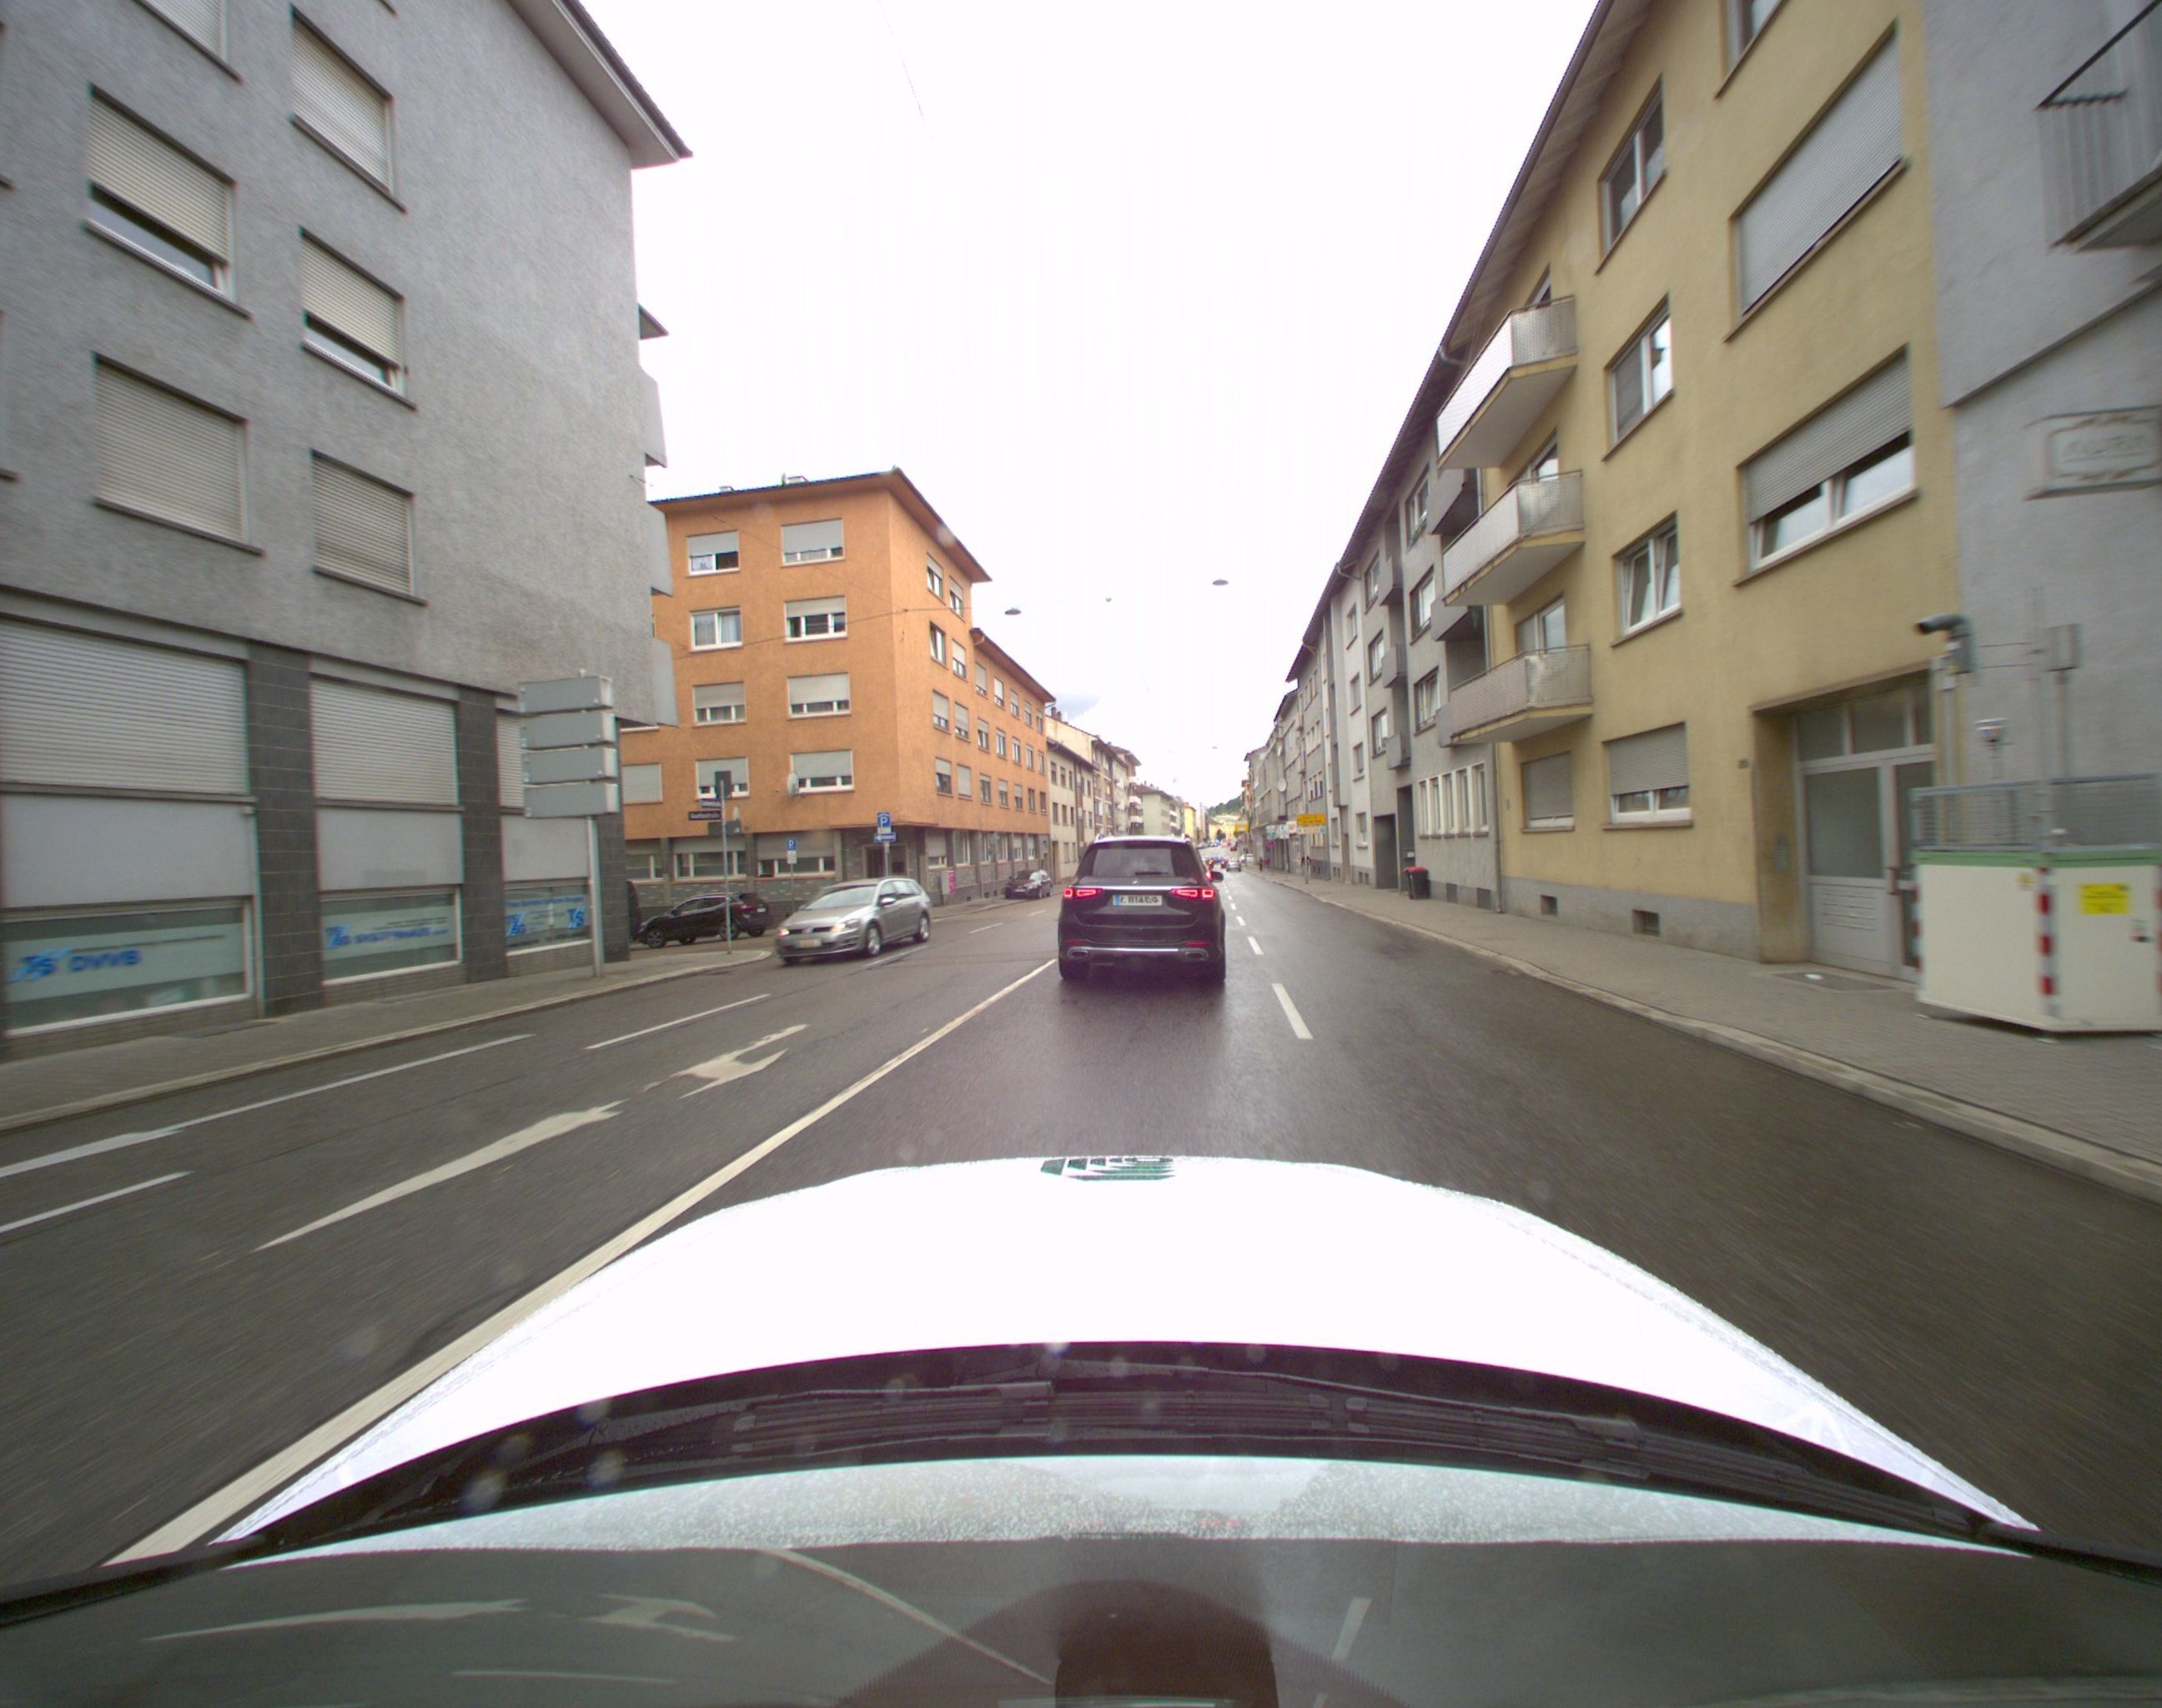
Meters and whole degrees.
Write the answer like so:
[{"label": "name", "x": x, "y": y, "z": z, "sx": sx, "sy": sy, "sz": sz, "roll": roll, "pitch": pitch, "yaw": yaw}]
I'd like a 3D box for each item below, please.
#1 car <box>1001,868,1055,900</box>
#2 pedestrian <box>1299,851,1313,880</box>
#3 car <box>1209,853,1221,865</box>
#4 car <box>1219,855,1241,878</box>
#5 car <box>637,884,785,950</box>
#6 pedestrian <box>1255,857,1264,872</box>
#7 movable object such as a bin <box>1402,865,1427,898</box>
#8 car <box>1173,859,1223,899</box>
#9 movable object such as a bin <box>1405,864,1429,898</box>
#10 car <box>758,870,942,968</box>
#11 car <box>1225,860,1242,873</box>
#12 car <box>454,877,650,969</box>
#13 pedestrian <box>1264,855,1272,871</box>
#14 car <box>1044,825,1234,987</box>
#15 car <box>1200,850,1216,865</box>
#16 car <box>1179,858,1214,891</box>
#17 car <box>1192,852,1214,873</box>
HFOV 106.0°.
[{"label": "car", "x": -2.625, "y": 1.495, "z": 41.655, "sx": 1.881, "sy": 1.458, "sz": 4.559, "roll": -1, "pitch": 0, "yaw": 7}, {"label": "pedestrian", "x": 14.139, "y": 0.740, "z": 51.177, "sx": 0.651, "sy": 1.752, "sz": 0.744, "roll": -5, "pitch": -1, "yaw": 14}, {"label": "car", "x": 23.576, "y": 0.789, "z": 143.415, "sx": 1.980, "sy": 2.013, "sz": 4.013, "roll": -1, "pitch": 0, "yaw": 11}, {"label": "car", "x": 14.040, "y": 1.148, "z": 76.622, "sx": 1.980, "sy": 2.013, "sz": 4.013, "roll": -1, "pitch": 0, "yaw": 11}, {"label": "car", "x": -12.385, "y": 2.100, "z": 27.369, "sx": 3.964, "sy": 1.652, "sz": 1.935, "roll": -7, "pitch": -1, "yaw": 9}, {"label": "pedestrian", "x": 18.349, "y": 1.083, "z": 83.652, "sx": 0.815, "sy": 1.565, "sz": 0.902, "roll": -1, "pitch": 0, "yaw": 12}, {"label": "movable object such as a bin", "x": 10.249, "y": 0.847, "z": 25.046, "sx": 0.559, "sy": 0.962, "sz": 0.476, "roll": -6, "pitch": -1, "yaw": 11}, {"label": "car", "x": 4.756, "y": 0.982, "z": 33.426, "sx": 1.883, "sy": 1.510, "sz": 4.181, "roll": 0, "pitch": 0, "yaw": 7}, {"label": "movable object such as a bin", "x": 10.105, "y": 0.801, "z": 24.525, "sx": 0.470, "sy": 0.962, "sz": 0.566, "roll": -6, "pitch": -1, "yaw": 10}, {"label": "car", "x": -4.397, "y": 1.186, "z": 16.306, "sx": 1.816, "sy": 1.416, "sz": 4.305, "roll": -6, "pitch": 0, "yaw": 8}, {"label": "car", "x": 18.040, "y": 1.431, "z": 96.267, "sx": 1.724, "sy": 1.388, "sz": 4.593, "roll": -1, "pitch": 0, "yaw": 8}, {"label": "car", "x": -18.201, "y": 2.333, "z": 28.170, "sx": 5.319, "sy": 2.459, "sz": 1.984, "roll": -7, "pitch": -1, "yaw": 3}, {"label": "pedestrian", "x": 19.148, "y": 0.891, "z": 83.475, "sx": 0.815, "sy": 1.565, "sz": 0.902, "roll": -1, "pitch": 0, "yaw": 12}, {"label": "car", "x": 0.951, "y": 0.573, "z": 11.342, "sx": 2.064, "sy": 1.765, "sz": 4.621, "roll": -1, "pitch": 0, "yaw": 8}, {"label": "car", "x": 18.127, "y": 0.454, "z": 115.871, "sx": 1.980, "sy": 2.013, "sz": 4.013, "roll": -1, "pitch": 0, "yaw": 11}, {"label": "car", "x": 7.747, "y": 1.322, "z": 54.329, "sx": 1.980, "sy": 2.013, "sz": 4.013, "roll": -1, "pitch": 0, "yaw": 11}, {"label": "car", "x": 12.609, "y": 0.875, "z": 84.243, "sx": 1.980, "sy": 2.013, "sz": 4.013, "roll": -1, "pitch": 0, "yaw": 11}]
